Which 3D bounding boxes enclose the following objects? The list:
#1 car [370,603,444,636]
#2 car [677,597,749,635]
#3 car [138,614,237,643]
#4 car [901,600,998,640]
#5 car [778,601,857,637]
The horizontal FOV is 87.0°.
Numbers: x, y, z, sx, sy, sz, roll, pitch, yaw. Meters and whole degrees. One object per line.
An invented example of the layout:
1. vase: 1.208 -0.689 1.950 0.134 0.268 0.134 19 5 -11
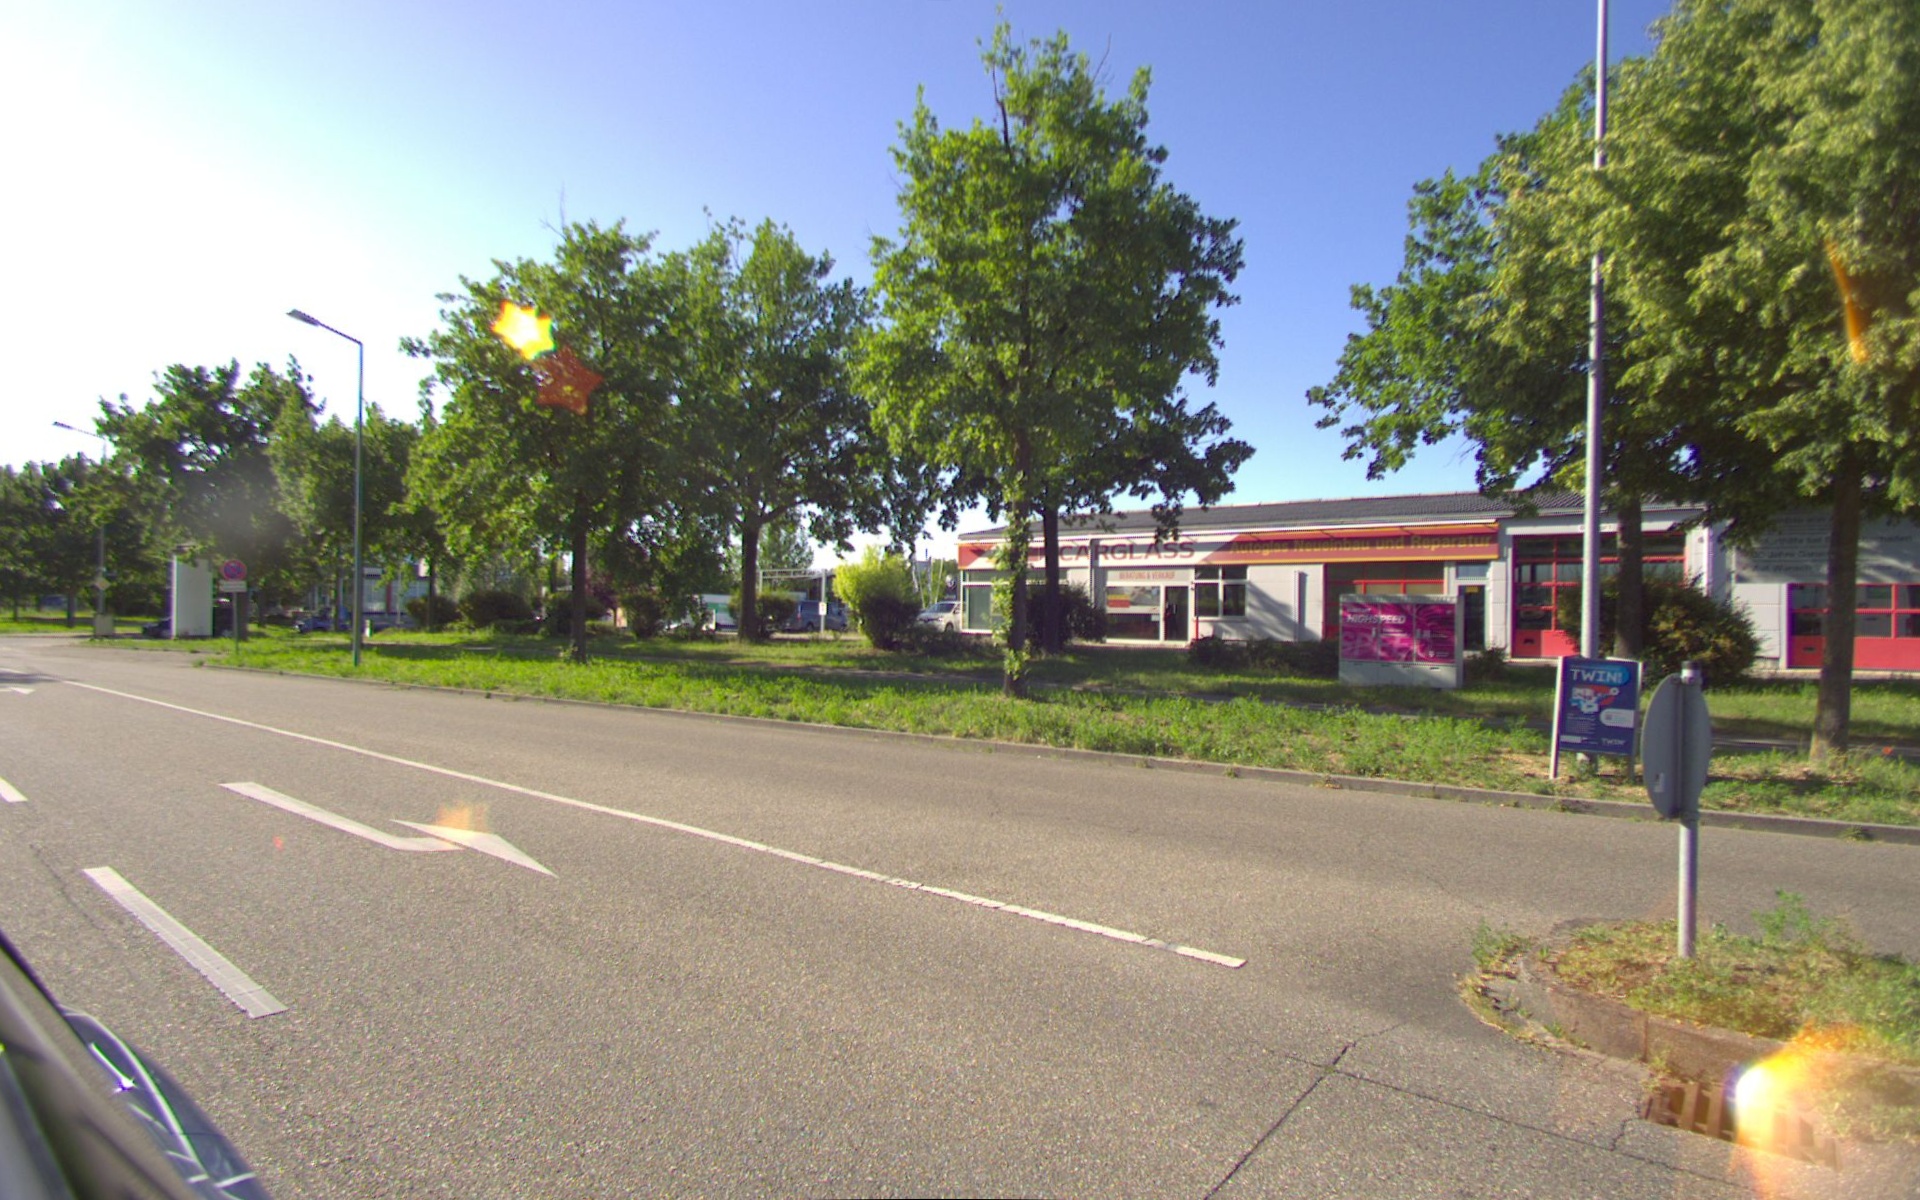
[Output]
1. car: -36.737 1.274 67.257 3.938 2.029 2.003 -1 0 -41
2. car: -15.361 1.017 63.123 1.775 2.234 4.161 -1 -2 38
3. car: -42.714 1.555 56.029 4.152 1.497 1.779 1 -1 -44
4. car: -0.411 0.835 43.911 1.995 1.599 4.186 -1 0 39
5. car: -8.272 1.086 59.012 1.995 1.960 4.435 -1 0 39
